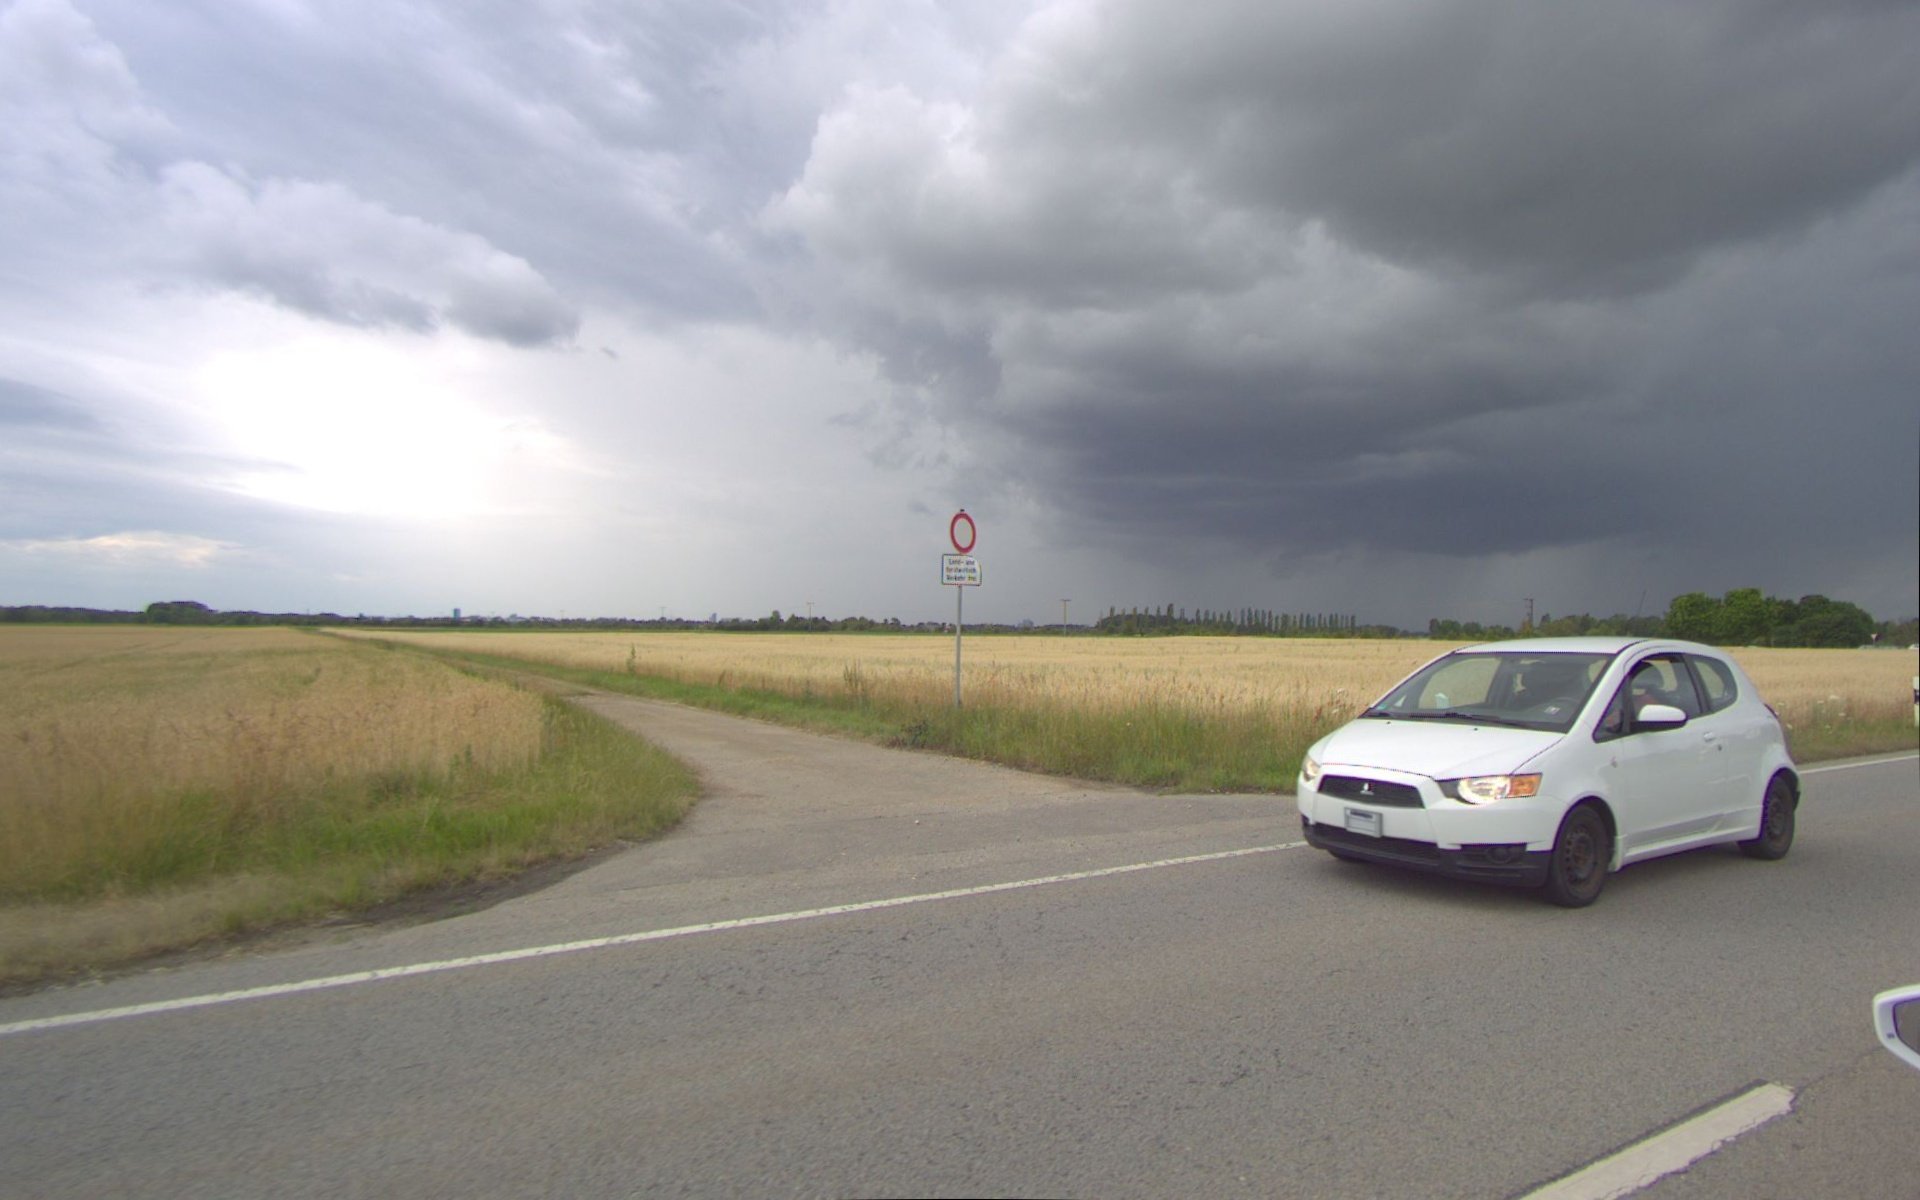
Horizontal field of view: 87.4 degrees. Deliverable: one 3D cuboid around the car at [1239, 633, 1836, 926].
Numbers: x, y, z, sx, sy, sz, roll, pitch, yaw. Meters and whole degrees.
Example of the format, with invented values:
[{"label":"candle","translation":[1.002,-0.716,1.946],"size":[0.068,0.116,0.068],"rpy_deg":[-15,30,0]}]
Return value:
[{"label":"car","translation":[4.048,0.988,6.924],"size":[4.065,1.476,1.798],"rpy_deg":[2,-2,-30]}]
